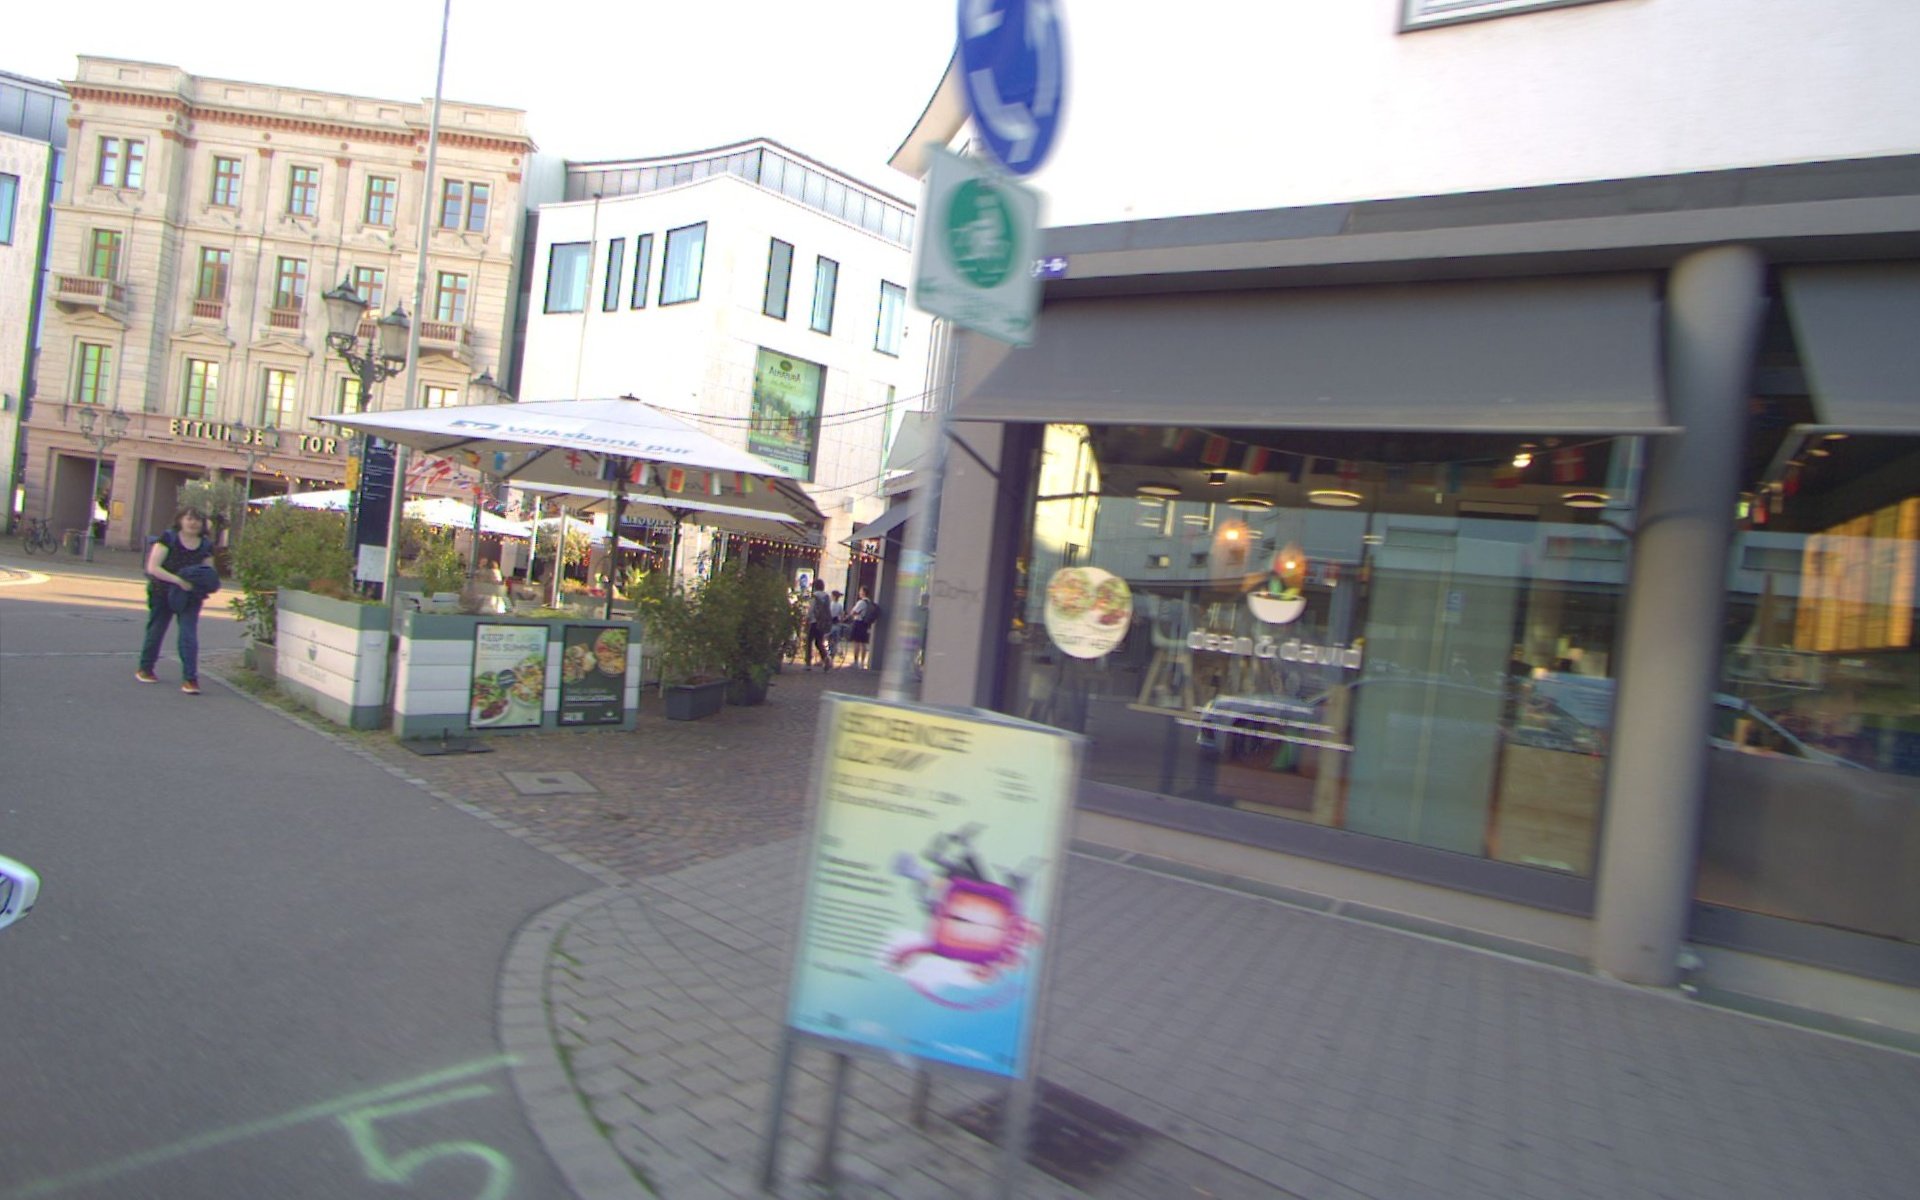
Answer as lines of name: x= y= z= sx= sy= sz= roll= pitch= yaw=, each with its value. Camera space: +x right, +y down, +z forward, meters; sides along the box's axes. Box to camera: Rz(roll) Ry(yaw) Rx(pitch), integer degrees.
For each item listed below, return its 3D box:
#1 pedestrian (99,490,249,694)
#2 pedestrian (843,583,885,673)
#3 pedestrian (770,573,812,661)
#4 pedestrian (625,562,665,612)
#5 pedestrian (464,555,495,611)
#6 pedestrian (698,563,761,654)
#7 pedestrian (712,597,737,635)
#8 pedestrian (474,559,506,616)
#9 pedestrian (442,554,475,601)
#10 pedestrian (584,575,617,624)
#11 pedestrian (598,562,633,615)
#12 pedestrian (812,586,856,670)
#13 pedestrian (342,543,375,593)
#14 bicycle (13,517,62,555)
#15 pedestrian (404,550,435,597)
pedestrian: x=-6.870 y=-0.056 z=8.803 sx=0.684 sy=1.668 sz=0.691 roll=7 pitch=1 yaw=29
pedestrian: x=-2.098 y=0.602 z=21.884 sx=0.555 sy=1.877 sz=0.457 roll=7 pitch=1 yaw=44
pedestrian: x=-3.899 y=0.384 z=23.156 sx=0.675 sy=1.920 sz=0.870 roll=7 pitch=0 yaw=-15
pedestrian: x=-11.505 y=-0.480 z=36.700 sx=0.855 sy=1.668 sz=0.927 roll=7 pitch=1 yaw=41
pedestrian: x=-13.529 y=-0.467 z=28.327 sx=0.526 sy=1.497 sz=0.556 roll=6 pitch=1 yaw=-42
pedestrian: x=-5.346 y=0.198 z=23.430 sx=1.008 sy=1.956 sz=1.010 roll=7 pitch=0 yaw=1
pedestrian: x=-7.713 y=0.534 z=32.992 sx=0.464 sy=1.170 sz=0.496 roll=7 pitch=0 yaw=38
pedestrian: x=-12.959 y=-0.356 z=27.741 sx=0.526 sy=1.497 sz=0.556 roll=6 pitch=1 yaw=-40
pedestrian: x=-16.913 y=-0.764 z=33.938 sx=0.612 sy=1.497 sz=0.624 roll=7 pitch=1 yaw=19
pedestrian: x=-10.477 y=-0.005 z=29.324 sx=0.545 sy=1.326 sz=0.716 roll=6 pitch=1 yaw=-41
pedestrian: x=-11.522 y=-0.391 z=33.678 sx=0.682 sy=1.668 sz=0.692 roll=7 pitch=1 yaw=41
pedestrian: x=-2.680 y=0.599 z=21.411 sx=0.498 sy=1.711 sz=0.596 roll=6 pitch=1 yaw=-43
pedestrian: x=-18.848 y=-0.999 z=31.521 sx=0.614 sy=1.497 sz=0.544 roll=7 pitch=1 yaw=31
bicycle: x=-27.195 y=-1.871 z=29.666 sx=0.502 sy=1.044 sz=1.636 roll=6 pitch=0 yaw=-25
pedestrian: x=-18.196 y=-0.888 z=33.862 sx=0.615 sy=1.497 sz=0.589 roll=7 pitch=1 yaw=41
